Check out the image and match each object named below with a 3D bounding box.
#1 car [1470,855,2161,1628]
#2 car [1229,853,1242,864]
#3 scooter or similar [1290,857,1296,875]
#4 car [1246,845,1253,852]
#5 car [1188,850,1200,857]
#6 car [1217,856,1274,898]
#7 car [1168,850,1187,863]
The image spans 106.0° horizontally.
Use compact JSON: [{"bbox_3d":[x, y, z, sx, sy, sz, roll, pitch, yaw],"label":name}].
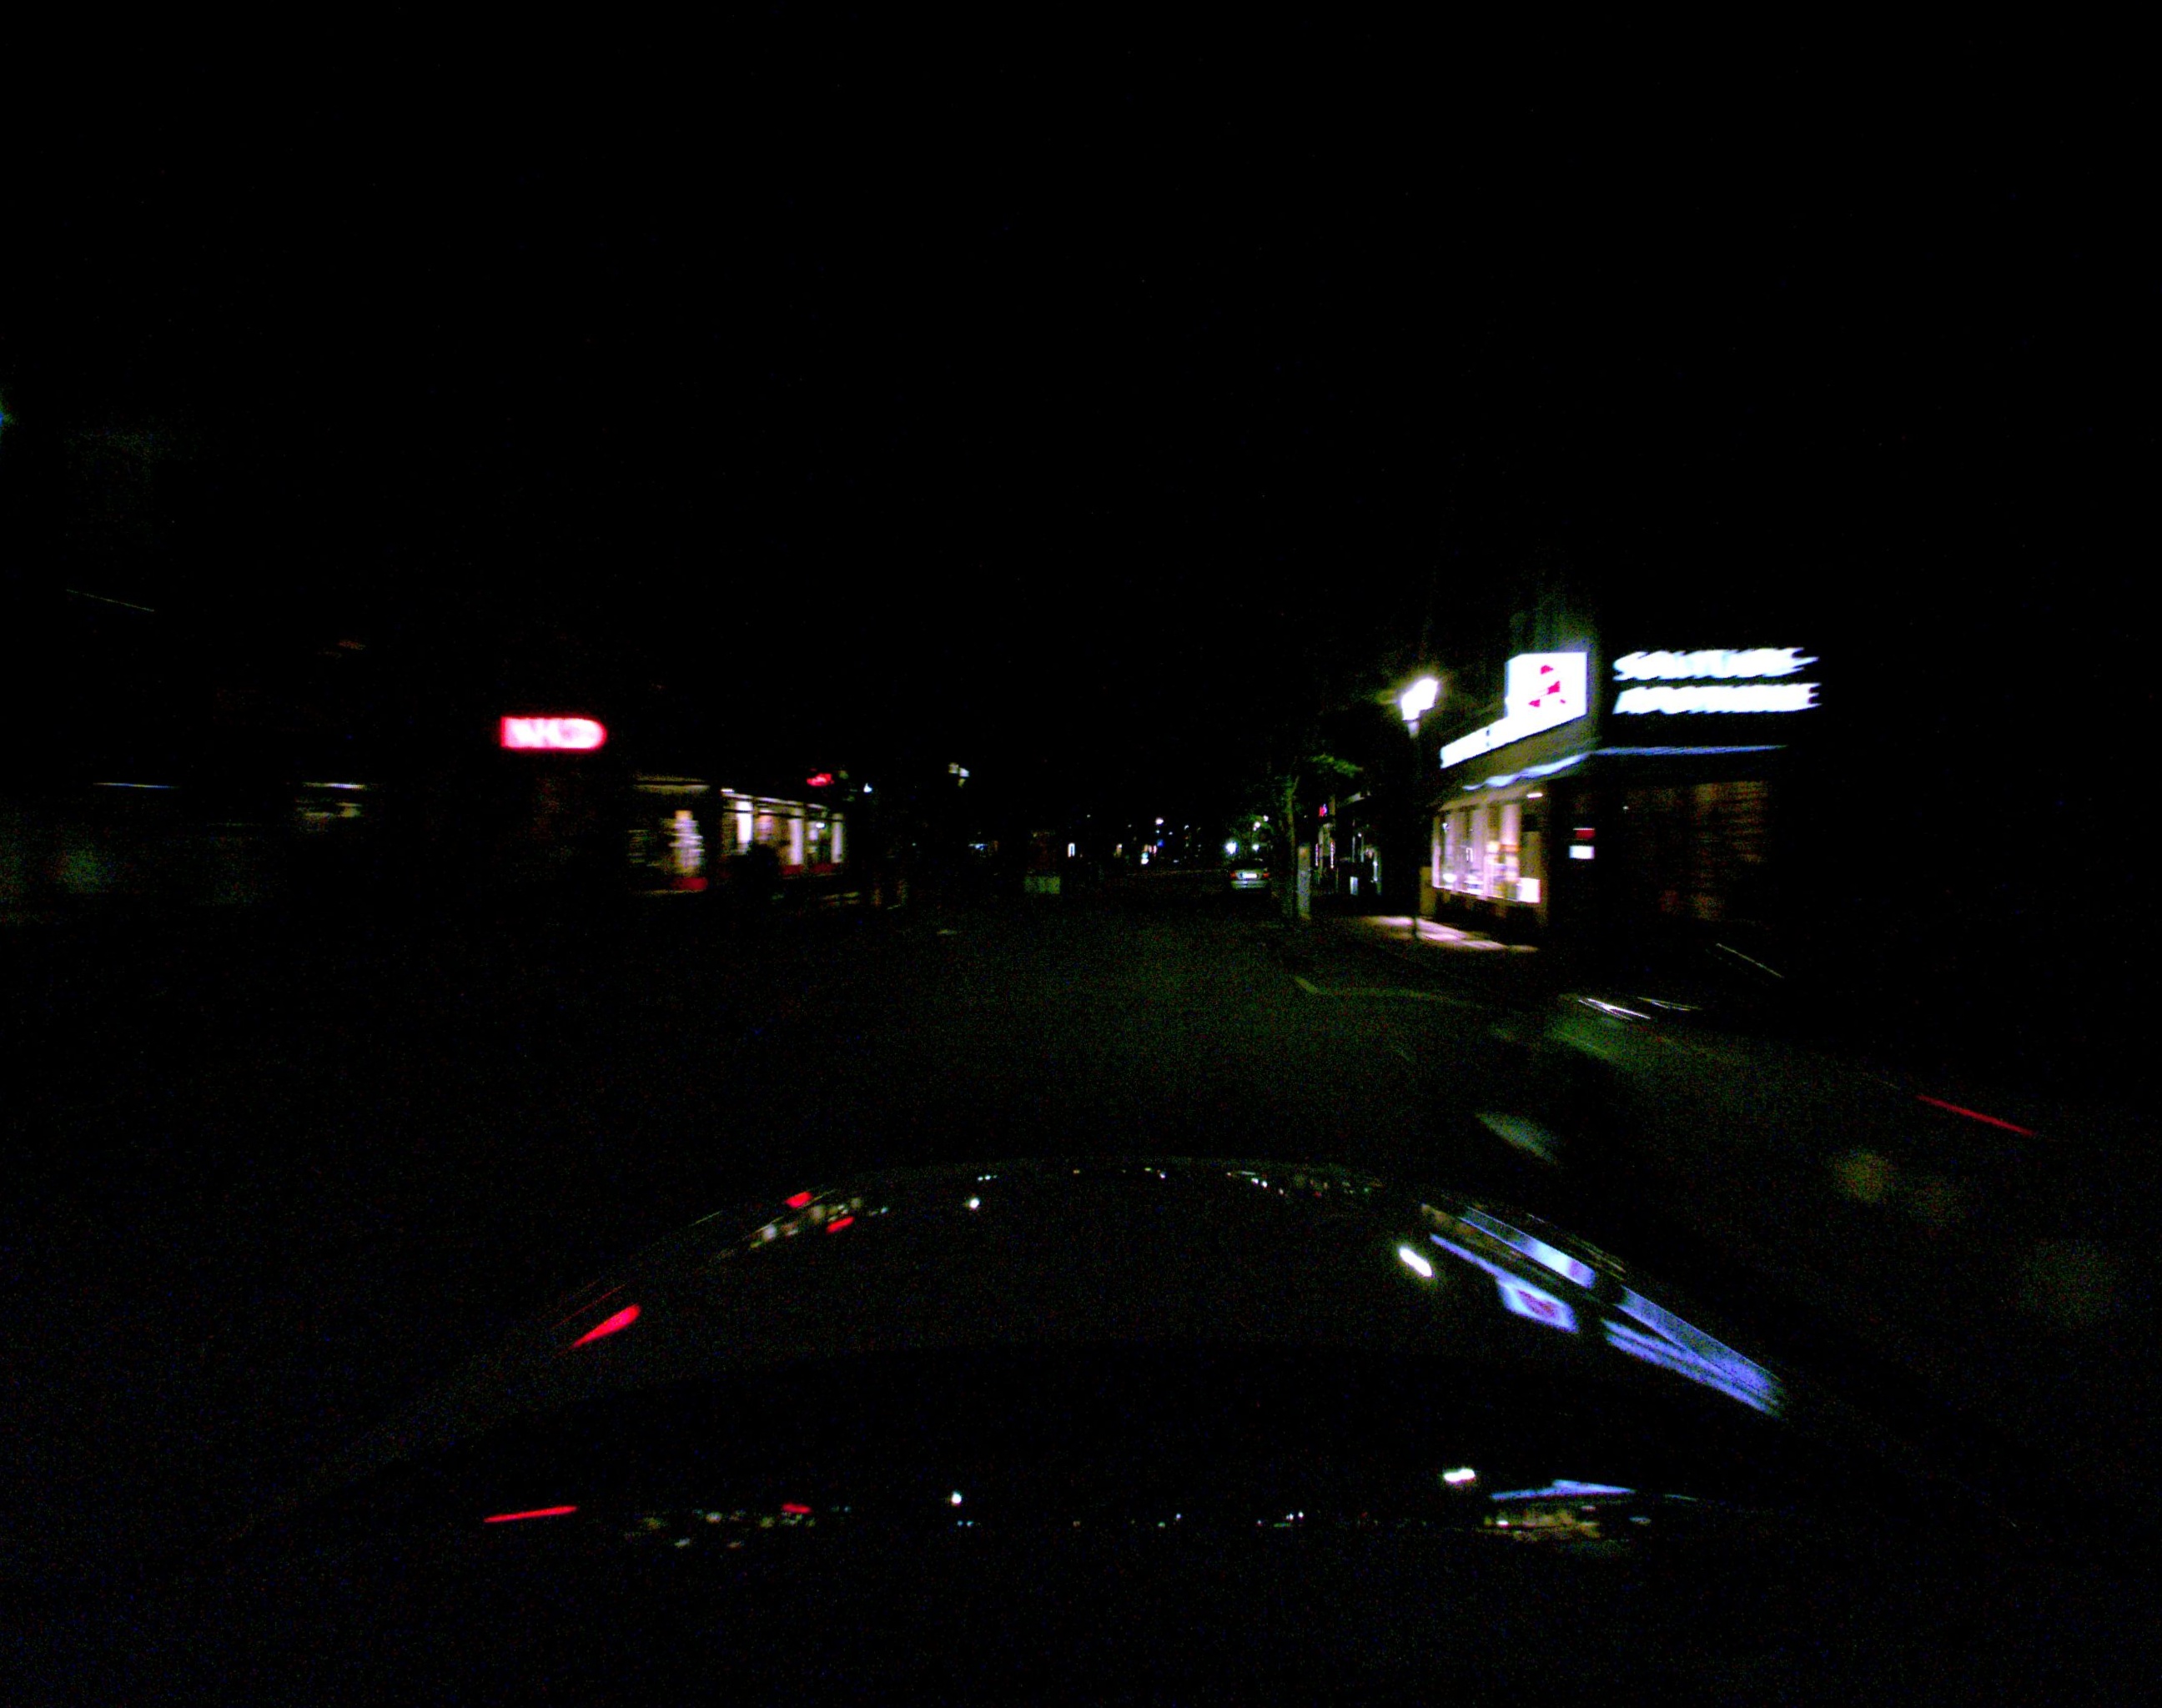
[{"bbox_3d":[2.986,0.755,2.323,1.735,1.488,4.639,0,-1,3],"label":"car"},{"bbox_3d":[21.529,0.673,113.476,1.664,1.459,3.685,0,0,9],"label":"car"},{"bbox_3d":[15.523,0.897,59.653,0.370,1.277,1.309,0,-1,12],"label":"scooter or similar"},{"bbox_3d":[44.172,-1.388,213.172,1.763,1.652,4.379,0,1,12],"label":"car"},{"bbox_3d":[22.535,-0.087,162.605,1.901,1.370,4.473,0,1,13],"label":"car"},{"bbox_3d":[6.316,0.840,31.653,1.726,1.441,4.504,0,0,6],"label":"car"},{"bbox_3d":[13.007,0.294,109.293,2.004,1.691,5.019,1,1,12],"label":"car"}]
